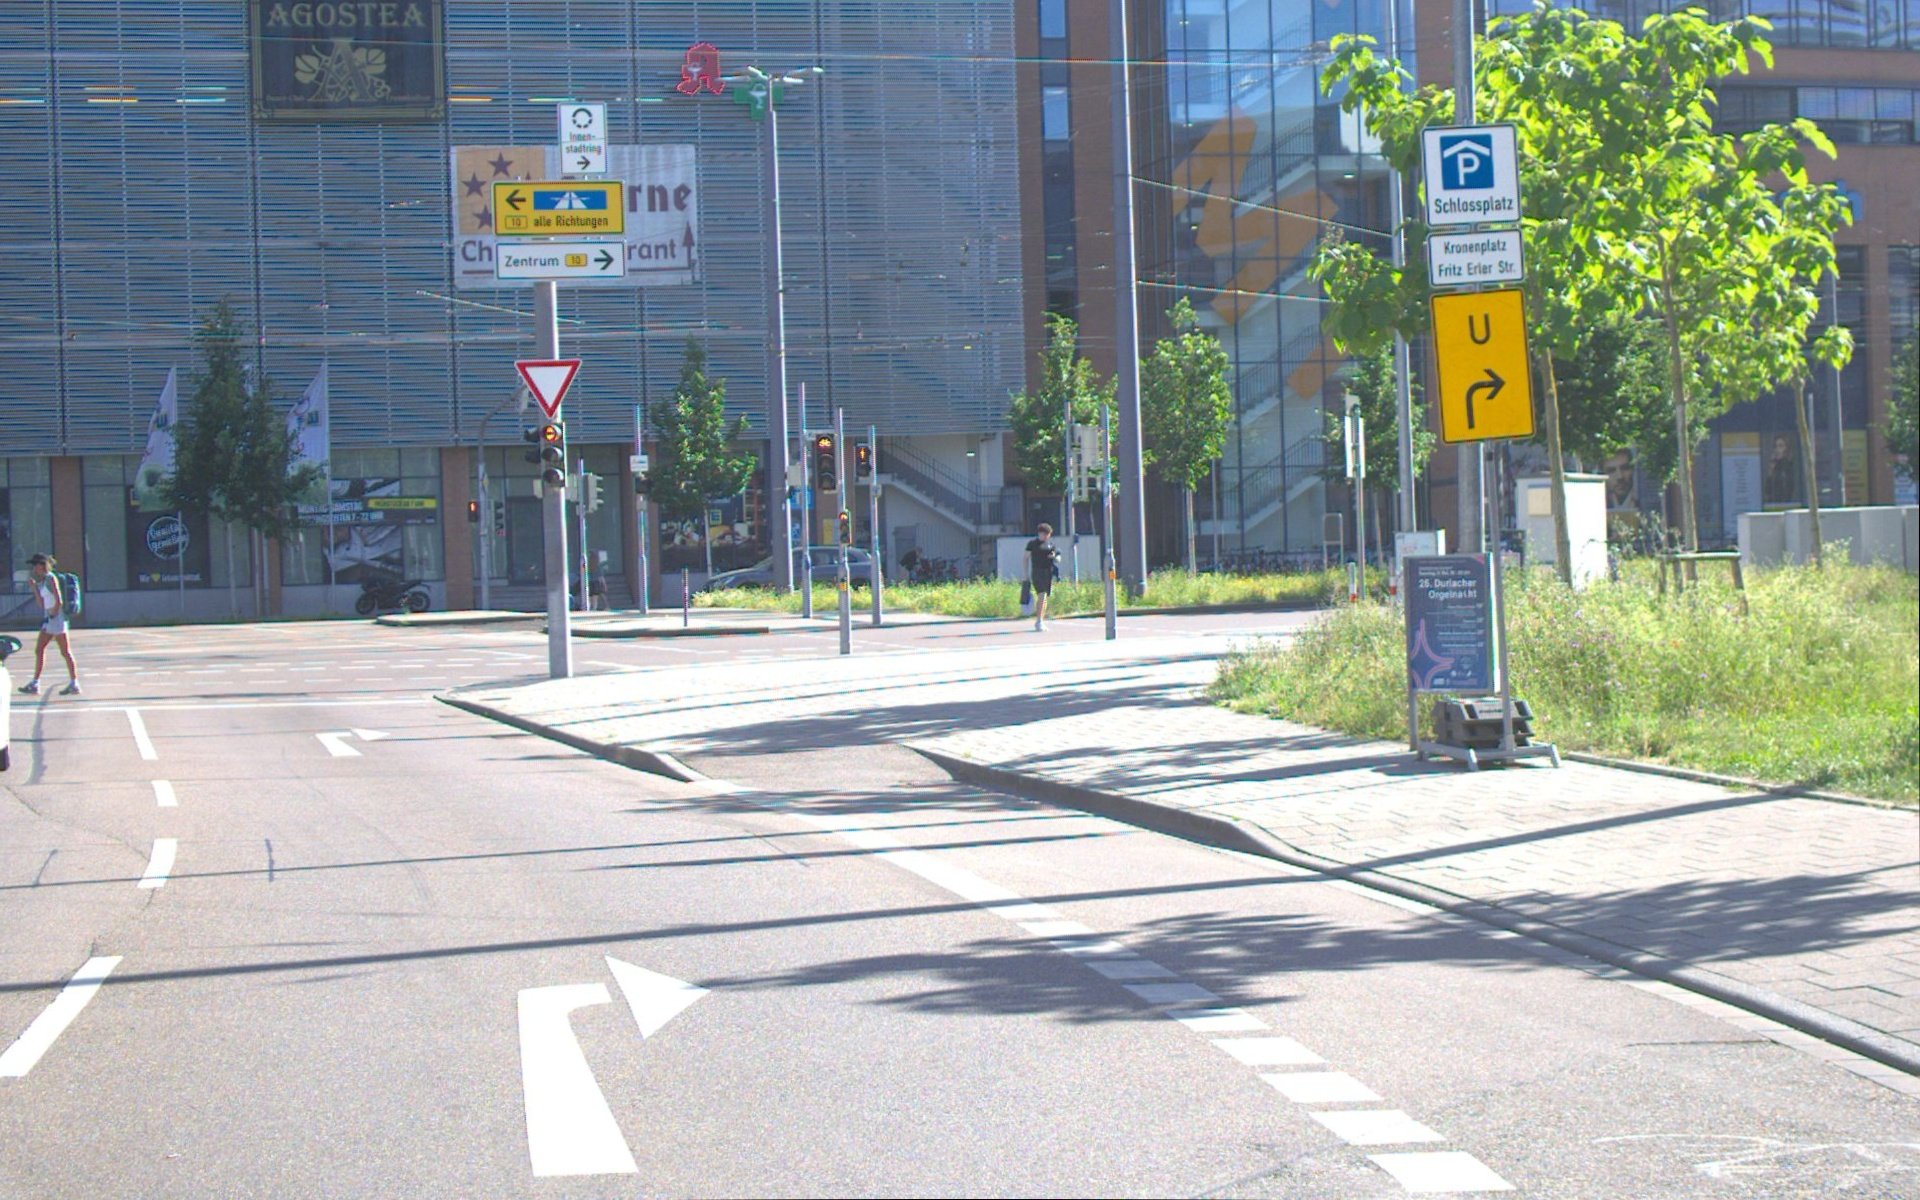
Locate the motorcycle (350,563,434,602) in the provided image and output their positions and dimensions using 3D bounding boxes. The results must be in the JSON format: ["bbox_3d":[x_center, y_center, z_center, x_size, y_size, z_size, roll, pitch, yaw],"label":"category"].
[{"bbox_3d":[-15.675,-0.479,94.831,2.202,1.039,1.062,-1,1,-14],"label":"motorcycle"}]

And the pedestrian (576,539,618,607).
[{"bbox_3d":[-9.321,-0.695,88.320,0.853,1.732,0.754,-2,1,-20],"label":"pedestrian"}]

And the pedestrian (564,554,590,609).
[{"bbox_3d":[-10.374,-0.499,93.068,0.589,1.457,0.658,-2,1,-15],"label":"pedestrian"}]

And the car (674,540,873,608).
[{"bbox_3d":[-4.454,-0.634,82.014,4.486,1.489,1.495,-2,1,-14],"label":"car"}]

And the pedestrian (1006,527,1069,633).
[{"bbox_3d":[1.268,-0.332,56.254,0.806,1.703,0.762,-1,1,-15],"label":"pedestrian"}]

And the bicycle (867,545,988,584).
[{"bbox_3d":[-0.943,-1.016,98.918,3.360,1.073,1.117,-1,1,-8],"label":"bicycle"}]

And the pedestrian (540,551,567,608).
[{"bbox_3d":[-10.959,-0.549,92.634,0.589,1.529,0.658,-2,1,-15],"label":"pedestrian"}]

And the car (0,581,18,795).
[{"bbox_3d":[-7.649,0.565,24.662,1.631,1.418,3.783,1,0,-15],"label":"car"}]

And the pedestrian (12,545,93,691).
[{"bbox_3d":[-10.827,0.208,41.035,0.885,1.701,0.713,-2,1,-15],"label":"pedestrian"}]
